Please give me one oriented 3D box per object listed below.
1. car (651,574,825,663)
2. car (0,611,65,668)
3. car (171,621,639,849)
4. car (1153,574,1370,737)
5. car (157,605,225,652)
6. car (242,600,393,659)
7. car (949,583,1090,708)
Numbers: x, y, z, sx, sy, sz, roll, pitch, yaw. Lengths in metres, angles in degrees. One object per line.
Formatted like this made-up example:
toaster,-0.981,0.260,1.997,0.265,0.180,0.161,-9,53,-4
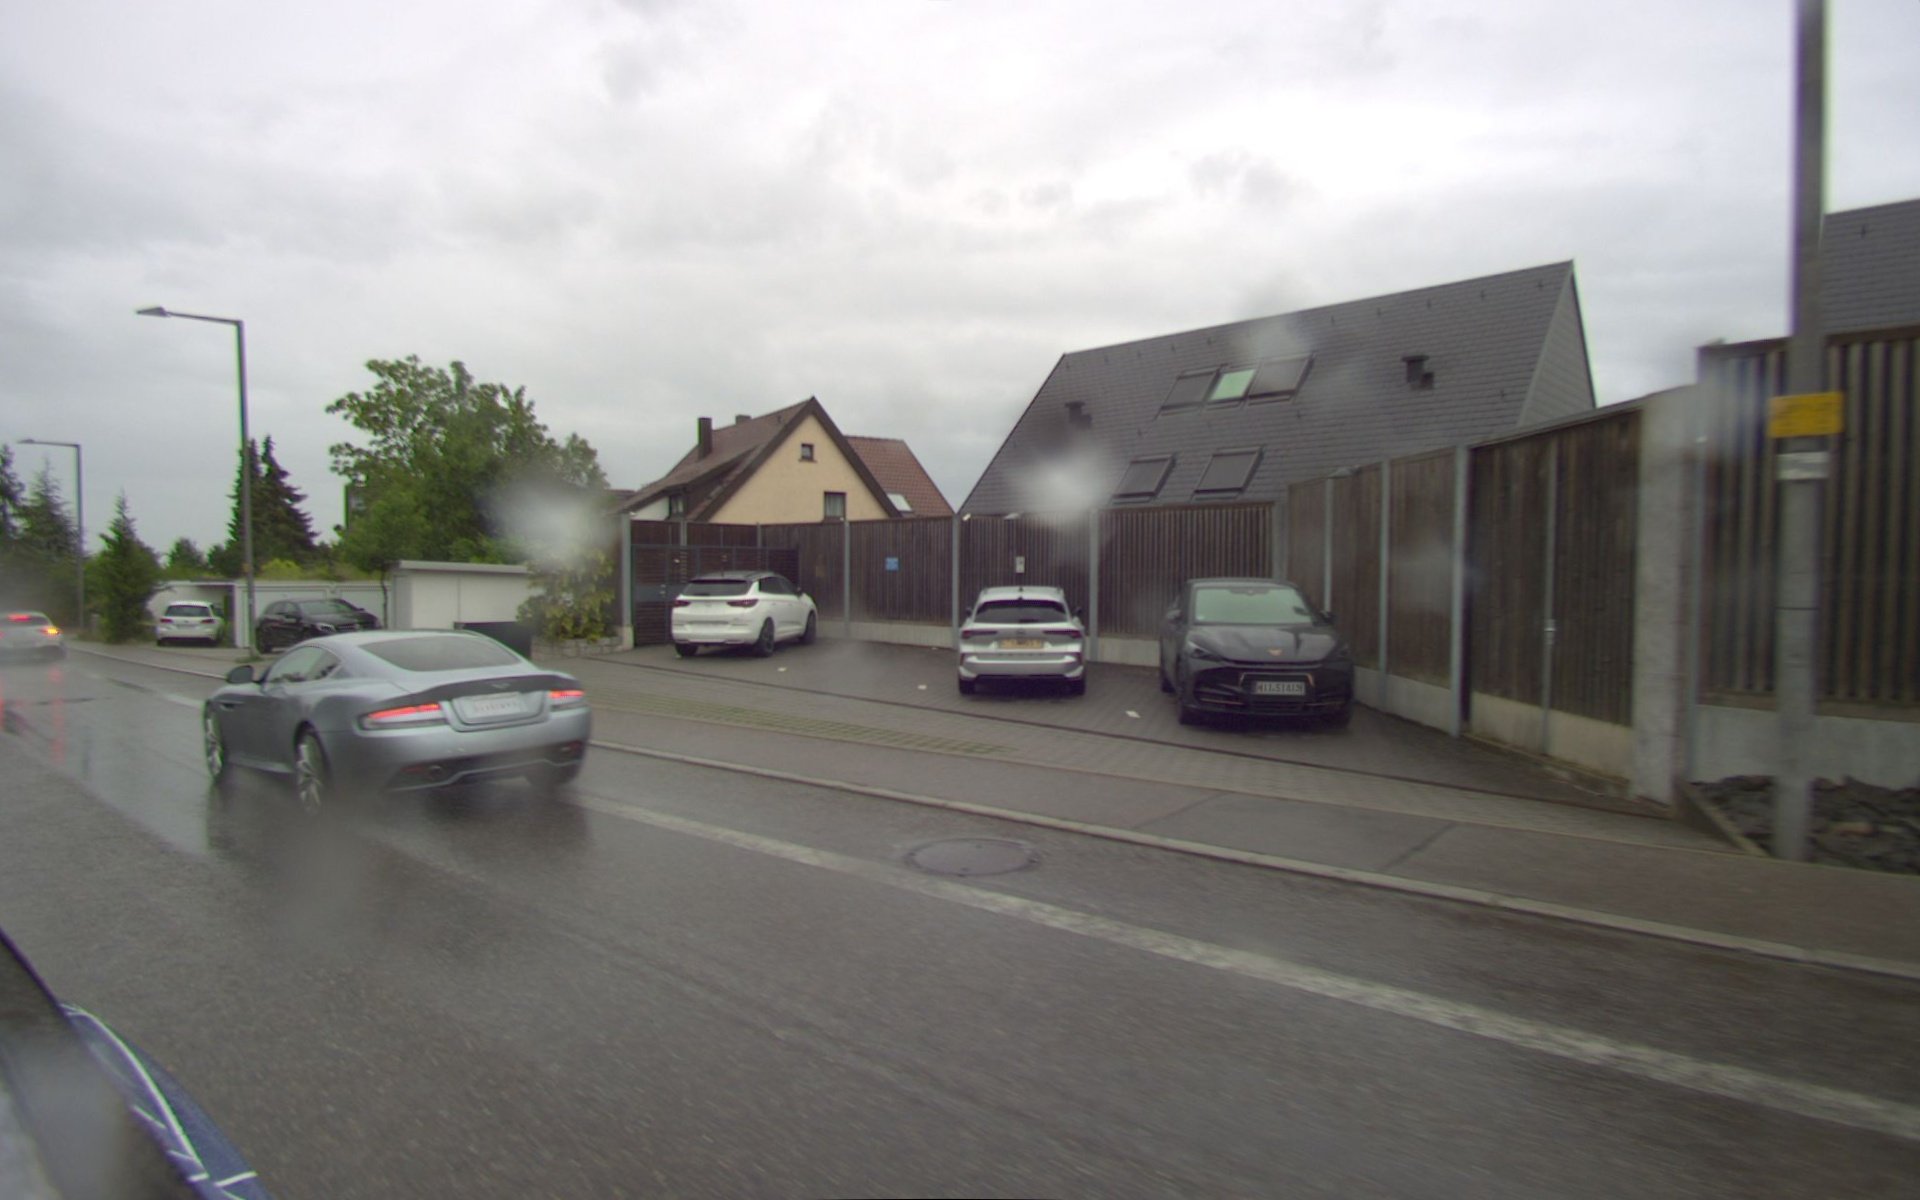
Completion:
car,-4.316,0.302,20.404,1.922,1.586,4.043,-2,1,12
car,-27.286,1.103,29.086,4.266,1.471,1.828,-1,1,42
car,-4.574,0.849,8.078,4.205,1.293,1.863,-1,0,40
car,3.430,0.528,12.334,1.816,1.612,4.284,-2,1,7
car,-28.307,1.006,37.348,1.682,1.565,4.400,-2,1,-34
car,-17.395,0.784,27.361,4.247,1.416,1.819,-1,1,33
car,0.848,0.542,15.026,1.738,1.453,4.530,-2,2,3
